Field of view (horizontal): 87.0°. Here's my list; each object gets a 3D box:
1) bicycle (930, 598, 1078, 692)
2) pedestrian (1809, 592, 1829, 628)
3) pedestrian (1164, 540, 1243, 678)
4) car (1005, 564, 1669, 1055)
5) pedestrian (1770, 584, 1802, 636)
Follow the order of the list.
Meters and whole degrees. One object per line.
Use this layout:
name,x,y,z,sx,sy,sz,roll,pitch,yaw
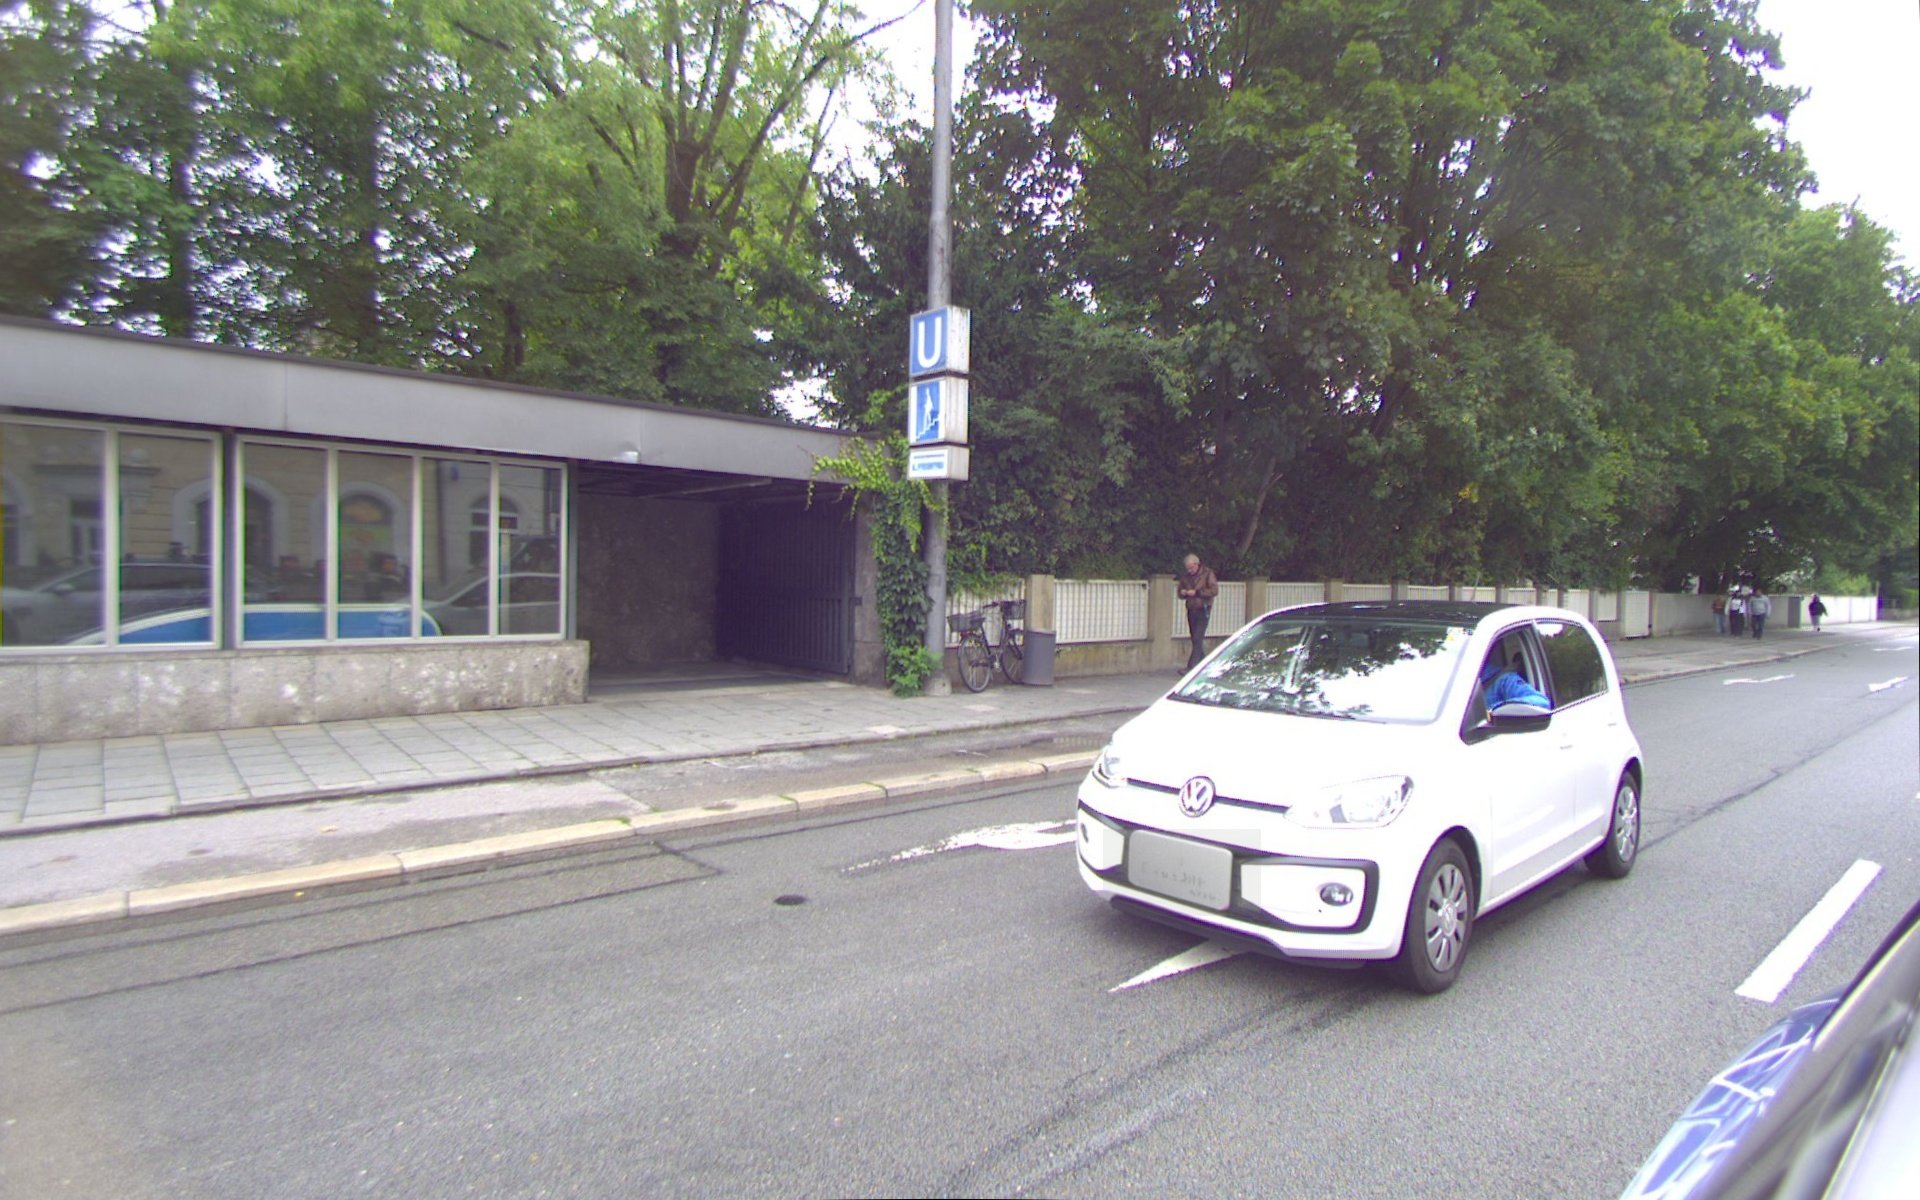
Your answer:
bicycle,0.592,0.536,12.907,1.991,1.104,0.623,0,1,-41
pedestrian,39.631,0.465,46.691,0.716,1.600,0.529,0,3,-42
pedestrian,3.614,0.109,15.030,0.788,1.966,0.779,0,2,-40
car,2.062,0.648,5.050,3.524,1.581,1.645,0,1,-42
pedestrian,28.242,0.331,34.613,0.753,1.726,0.667,0,3,-42
